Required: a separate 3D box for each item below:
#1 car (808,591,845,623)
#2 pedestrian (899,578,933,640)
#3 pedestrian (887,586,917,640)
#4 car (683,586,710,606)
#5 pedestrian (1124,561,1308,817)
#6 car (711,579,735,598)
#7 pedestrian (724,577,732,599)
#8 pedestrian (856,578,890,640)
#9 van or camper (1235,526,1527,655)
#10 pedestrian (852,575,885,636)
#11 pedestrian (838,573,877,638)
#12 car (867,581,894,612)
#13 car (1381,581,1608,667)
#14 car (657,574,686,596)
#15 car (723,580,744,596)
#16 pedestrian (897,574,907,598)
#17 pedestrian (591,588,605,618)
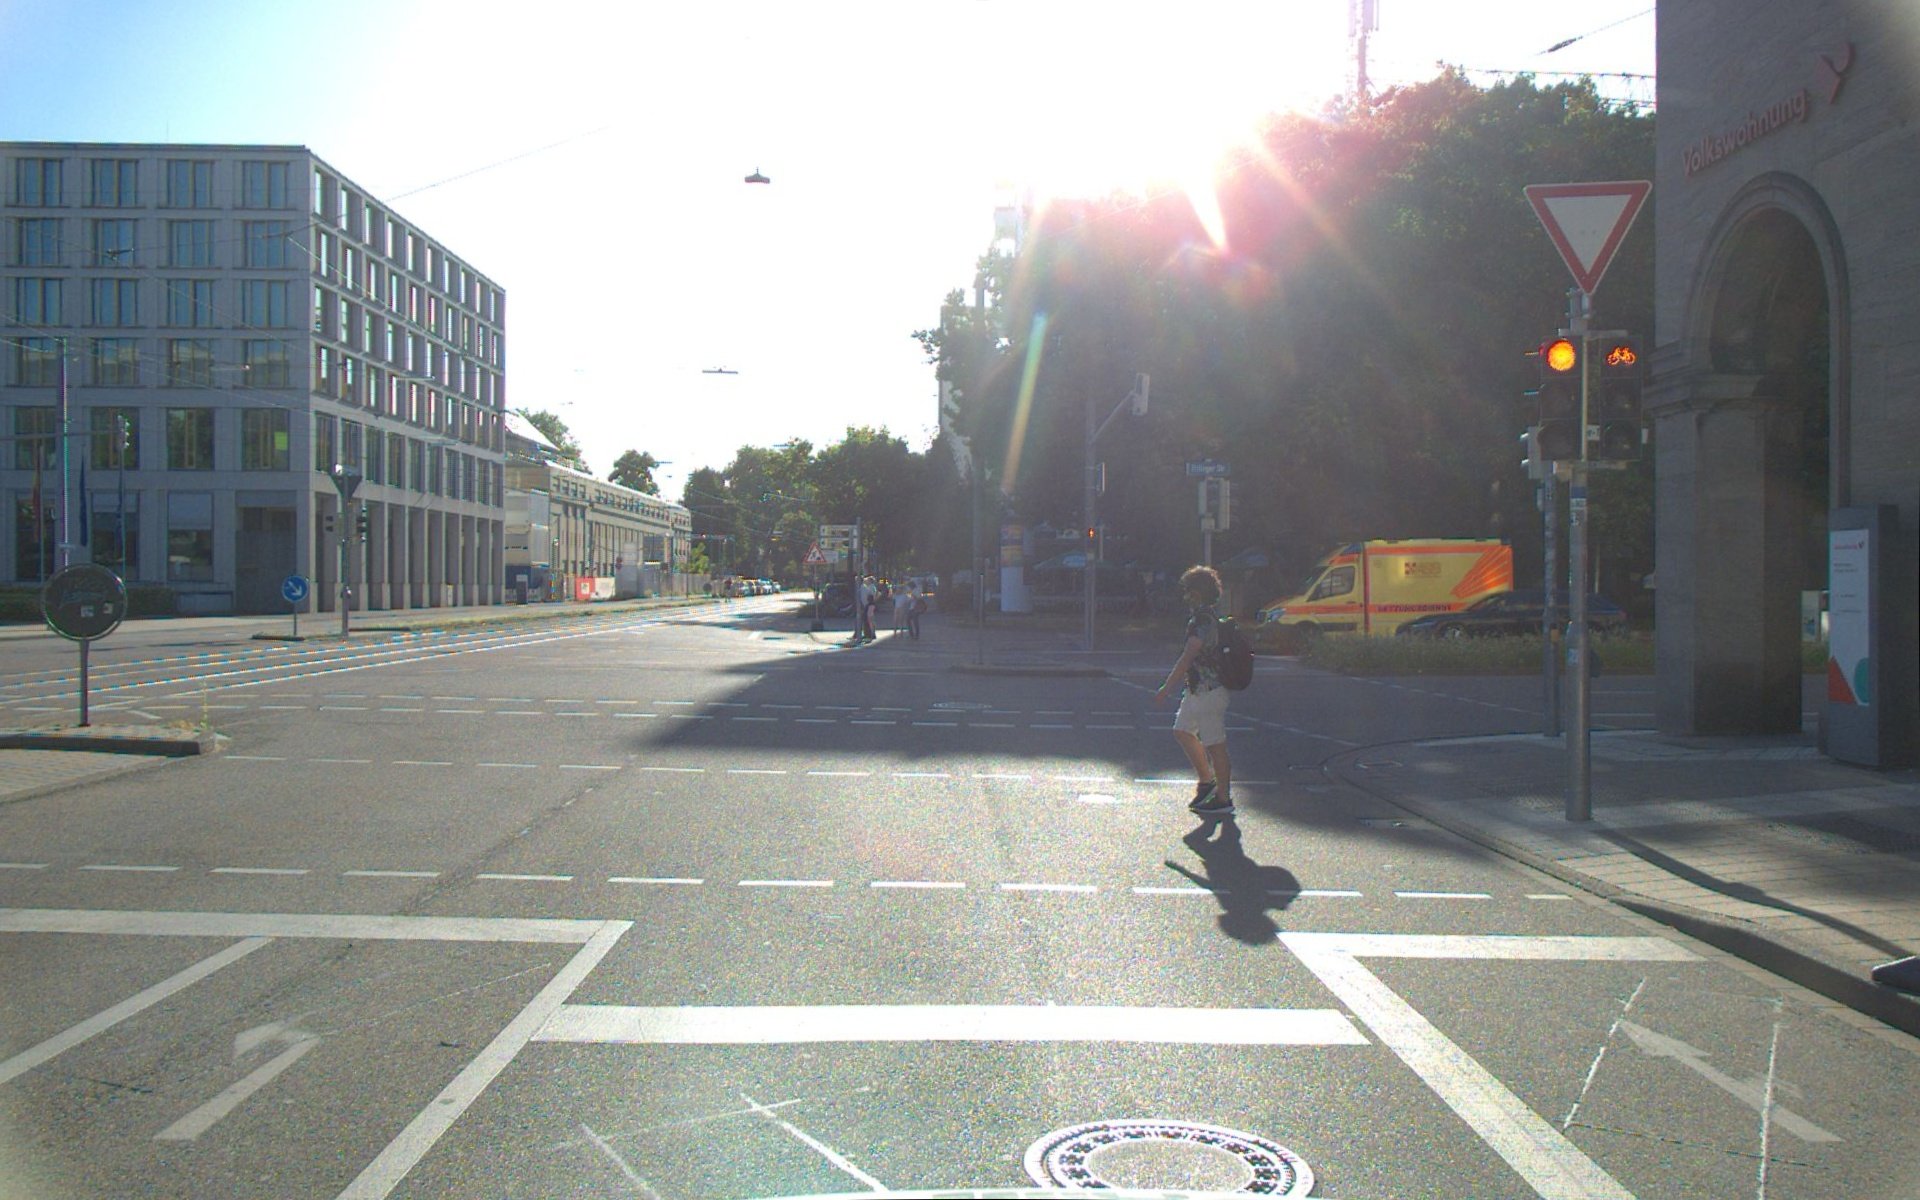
[{"bbox_3d":[-6.837,0.357,84.947,1.650,1.527,3.508,2,-1,-1],"label":"car"},{"bbox_3d":[-1.302,0.260,48.576,0.834,1.815,0.776,0,0,-17],"label":"pedestrian"},{"bbox_3d":[-1.727,0.377,49.247,0.750,1.586,0.585,0,0,-17],"label":"pedestrian"},{"bbox_3d":[-23.297,-0.365,146.197,1.782,1.742,3.805,0,0,-1],"label":"car"},{"bbox_3d":[1.824,0.605,11.937,1.021,1.751,1.032,0,0,-12],"label":"pedestrian"},{"bbox_3d":[-22.686,-1.116,158.254,1.782,1.742,3.805,0,0,-1],"label":"car"},{"bbox_3d":[-16.325,-0.821,116.305,0.513,1.510,0.437,2,-1,-2],"label":"pedestrian"},{"bbox_3d":[-2.578,0.247,48.845,0.834,1.815,0.776,0,0,-17],"label":"pedestrian"},{"bbox_3d":[10.345,-0.219,41.203,6.568,2.911,2.912,2,-1,3],"label":"van or camper"},{"bbox_3d":[-2.755,0.173,49.690,0.834,1.815,0.776,0,0,-17],"label":"pedestrian"},{"bbox_3d":[-2.920,0.158,46.917,0.950,1.815,0.776,0,0,-17],"label":"pedestrian"},{"bbox_3d":[-5.280,-0.217,109.908,1.650,1.996,3.508,2,-1,-1],"label":"car"},{"bbox_3d":[11.410,0.507,35.490,4.226,1.676,1.888,2,-1,-1],"label":"car"},{"bbox_3d":[-23.630,-1.214,135.466,1.782,1.742,3.805,0,0,-1],"label":"car"},{"bbox_3d":[-22.205,-1.208,162.110,1.577,1.524,3.805,0,0,-1],"label":"car"},{"bbox_3d":[-8.675,-2.096,248.084,1.373,3.659,1.567,2,-1,-1],"label":"pedestrian"},{"bbox_3d":[-15.969,0.127,72.932,0.501,1.352,0.369,0,0,0],"label":"pedestrian"}]
